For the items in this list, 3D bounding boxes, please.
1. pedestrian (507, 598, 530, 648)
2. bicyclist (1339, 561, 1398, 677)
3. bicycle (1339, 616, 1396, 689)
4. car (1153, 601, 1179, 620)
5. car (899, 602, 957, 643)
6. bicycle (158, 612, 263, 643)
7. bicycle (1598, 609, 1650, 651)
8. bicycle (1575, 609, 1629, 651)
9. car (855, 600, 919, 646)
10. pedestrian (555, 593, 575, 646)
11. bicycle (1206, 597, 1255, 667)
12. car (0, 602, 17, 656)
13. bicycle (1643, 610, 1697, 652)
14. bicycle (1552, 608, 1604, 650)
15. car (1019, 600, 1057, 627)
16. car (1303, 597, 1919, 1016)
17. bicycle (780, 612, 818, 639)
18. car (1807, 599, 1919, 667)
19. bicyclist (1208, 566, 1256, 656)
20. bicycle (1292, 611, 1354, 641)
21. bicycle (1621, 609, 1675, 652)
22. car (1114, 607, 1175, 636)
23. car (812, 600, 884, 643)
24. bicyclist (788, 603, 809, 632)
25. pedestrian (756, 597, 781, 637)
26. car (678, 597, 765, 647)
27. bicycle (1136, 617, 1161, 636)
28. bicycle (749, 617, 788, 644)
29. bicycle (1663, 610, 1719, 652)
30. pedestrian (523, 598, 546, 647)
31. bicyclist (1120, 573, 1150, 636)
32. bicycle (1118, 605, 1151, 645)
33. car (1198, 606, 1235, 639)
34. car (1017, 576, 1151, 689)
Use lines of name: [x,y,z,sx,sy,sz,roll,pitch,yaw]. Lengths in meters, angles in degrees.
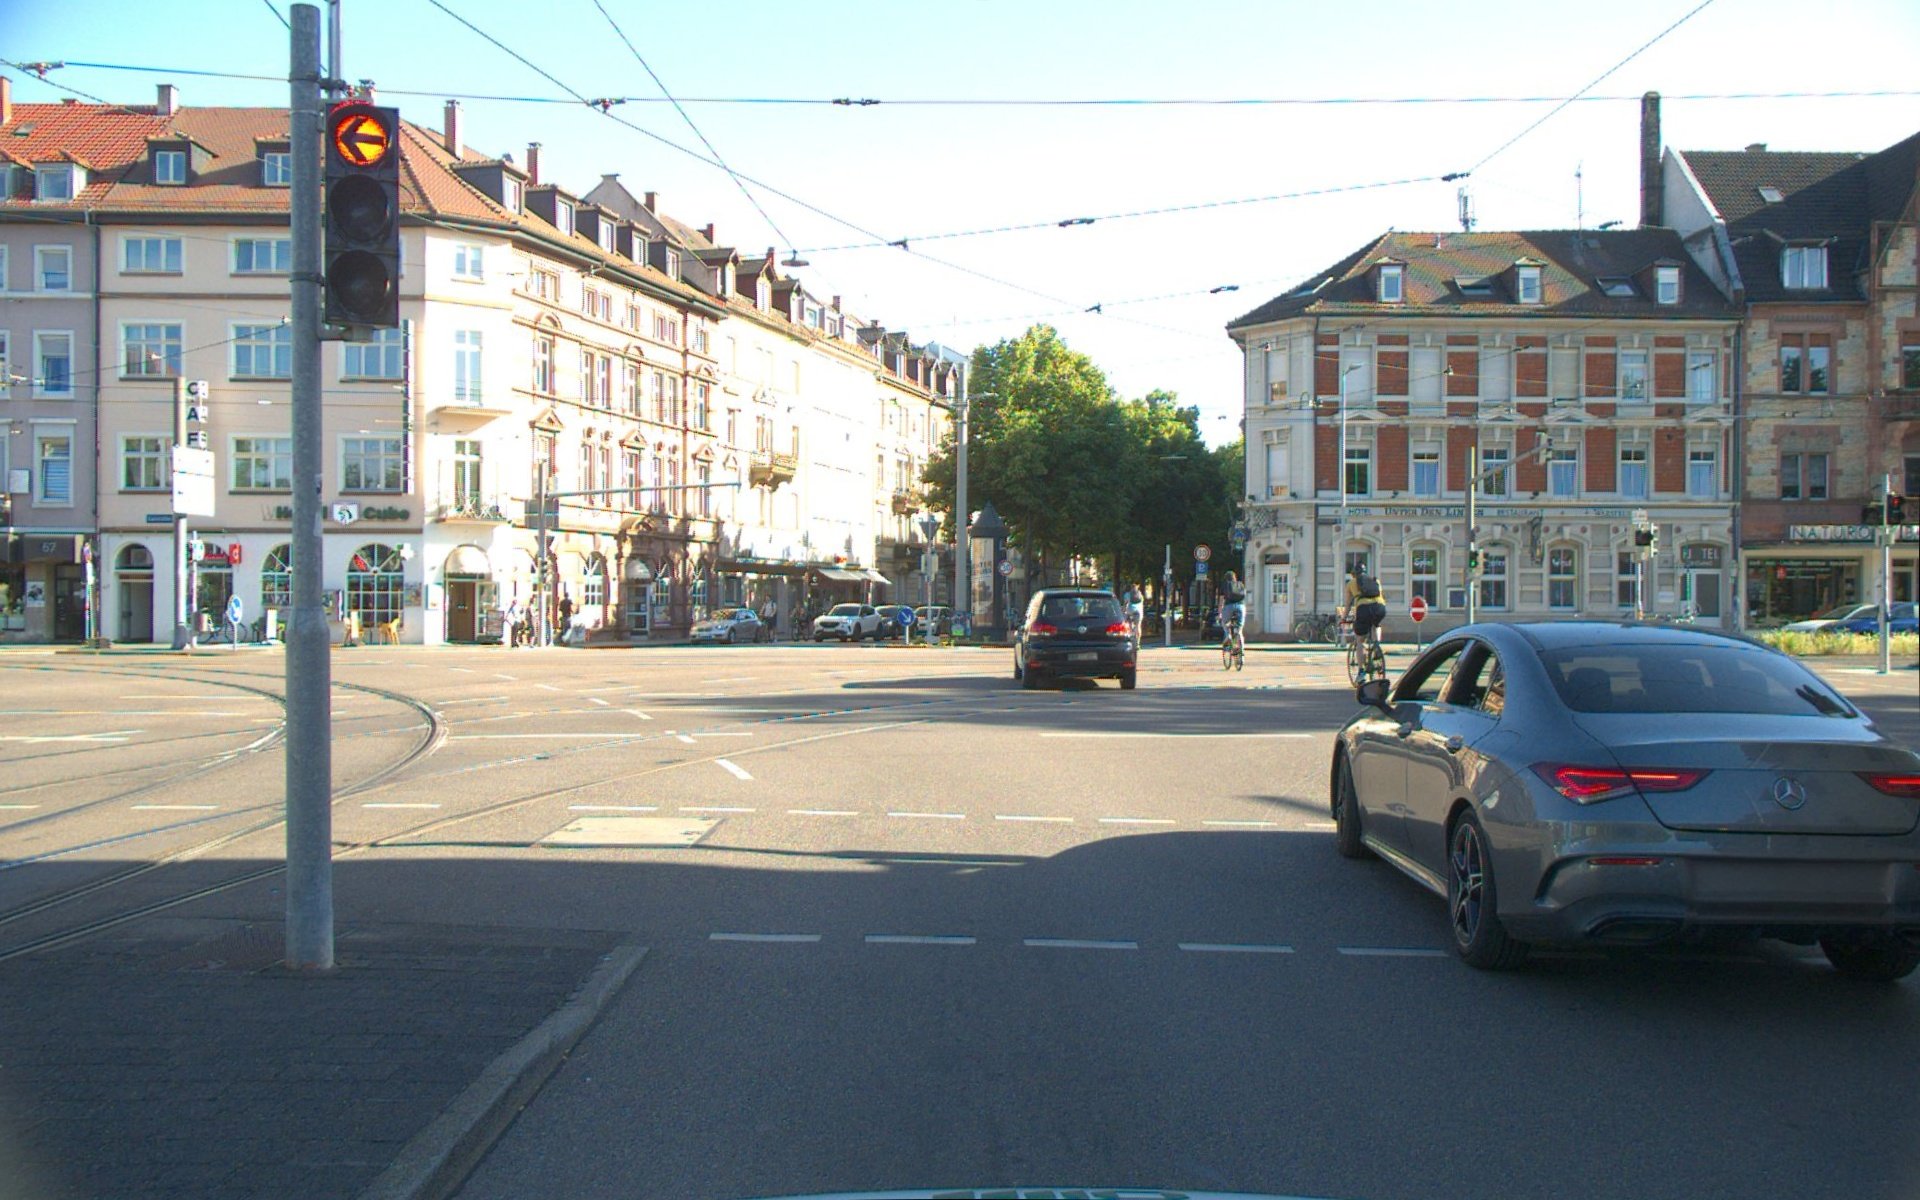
pedestrian: [-14.858,0.787,55.664,0.620,1.662,0.700,1,-1,-4]
bicyclist: [6.104,0.275,24.681,0.789,1.692,0.884,1,-1,16]
bicycle: [6.147,0.770,24.889,0.739,1.049,1.781,1,0,17]
car: [16.803,0.839,134.871,1.526,1.540,3.658,1,0,16]
car: [-1.510,1.071,79.756,1.951,1.937,4.003,1,0,11]
bicycle: [-25.514,0.945,56.345,3.066,0.997,1.001,1,0,-1]
bicycle: [21.309,0.937,53.141,0.615,1.309,2.661,1,0,0]
bicycle: [20.598,0.937,53.120,0.678,1.309,2.661,1,0,0]
car: [-3.213,1.015,73.518,1.951,1.937,4.003,1,0,11]
pedestrian: [-14.378,0.697,60.257,0.454,1.914,0.635,1,-1,10]
bicycle: [5.021,0.588,30.772,0.739,1.258,1.704,1,0,5]
car: [-32.384,0.917,52.423,3.902,1.699,2.002,0,0,8]
bicycle: [22.801,0.971,53.168,0.615,1.309,2.661,1,0,0]
bicycle: [19.833,0.917,53.104,0.678,1.309,2.661,1,0,0]
car: [5.804,1.027,122.739,1.951,1.937,4.002,1,0,16]
car: [3.069,0.739,8.038,1.868,1.444,4.492,1,0,0]
bicycle: [-6.828,1.077,70.199,0.637,1.142,2.253,1,0,20]
car: [25.932,0.922,46.041,3.706,1.809,1.999,1,0,-2]
bicyclist: [5.062,0.208,30.823,0.789,1.634,0.884,1,-1,5]
bicycle: [12.567,0.900,57.289,2.006,1.015,0.631,0,-1,2]
bicycle: [22.086,0.961,53.144,0.615,1.309,2.661,1,0,0]
car: [12.855,1.468,115.145,3.902,1.937,2.001,1,0,15]
car: [-4.517,0.866,67.324,1.951,1.646,4.003,1,0,11]
bicyclist: [-6.853,0.739,70.155,0.618,1.205,0.685,1,-1,20]
pedestrian: [-7.538,0.669,65.081,0.803,1.539,0.598,1,-1,14]
car: [-9.604,0.878,66.974,1.951,1.937,4.002,1,0,17]
bicycle: [11.285,1.574,99.216,0.619,1.104,1.685,1,0,-31]
bicycle: [-7.526,1.208,65.152,0.746,1.025,2.398,1,0,13]
bicycle: [23.486,0.983,53.167,0.615,1.309,2.661,1,0,0]
pedestrian: [-14.650,0.779,57.016,0.620,1.662,0.700,1,-1,-4]
bicyclist: [4.692,0.118,44.378,0.675,1.662,0.883,1,-1,-1]
bicycle: [4.688,0.666,44.534,0.636,1.049,1.771,1,0,-1]
car: [12.872,1.120,82.769,1.655,1.592,3.844,1,0,11]
car: [1.845,0.435,25.621,1.693,1.534,4.050,1,2,-1]
